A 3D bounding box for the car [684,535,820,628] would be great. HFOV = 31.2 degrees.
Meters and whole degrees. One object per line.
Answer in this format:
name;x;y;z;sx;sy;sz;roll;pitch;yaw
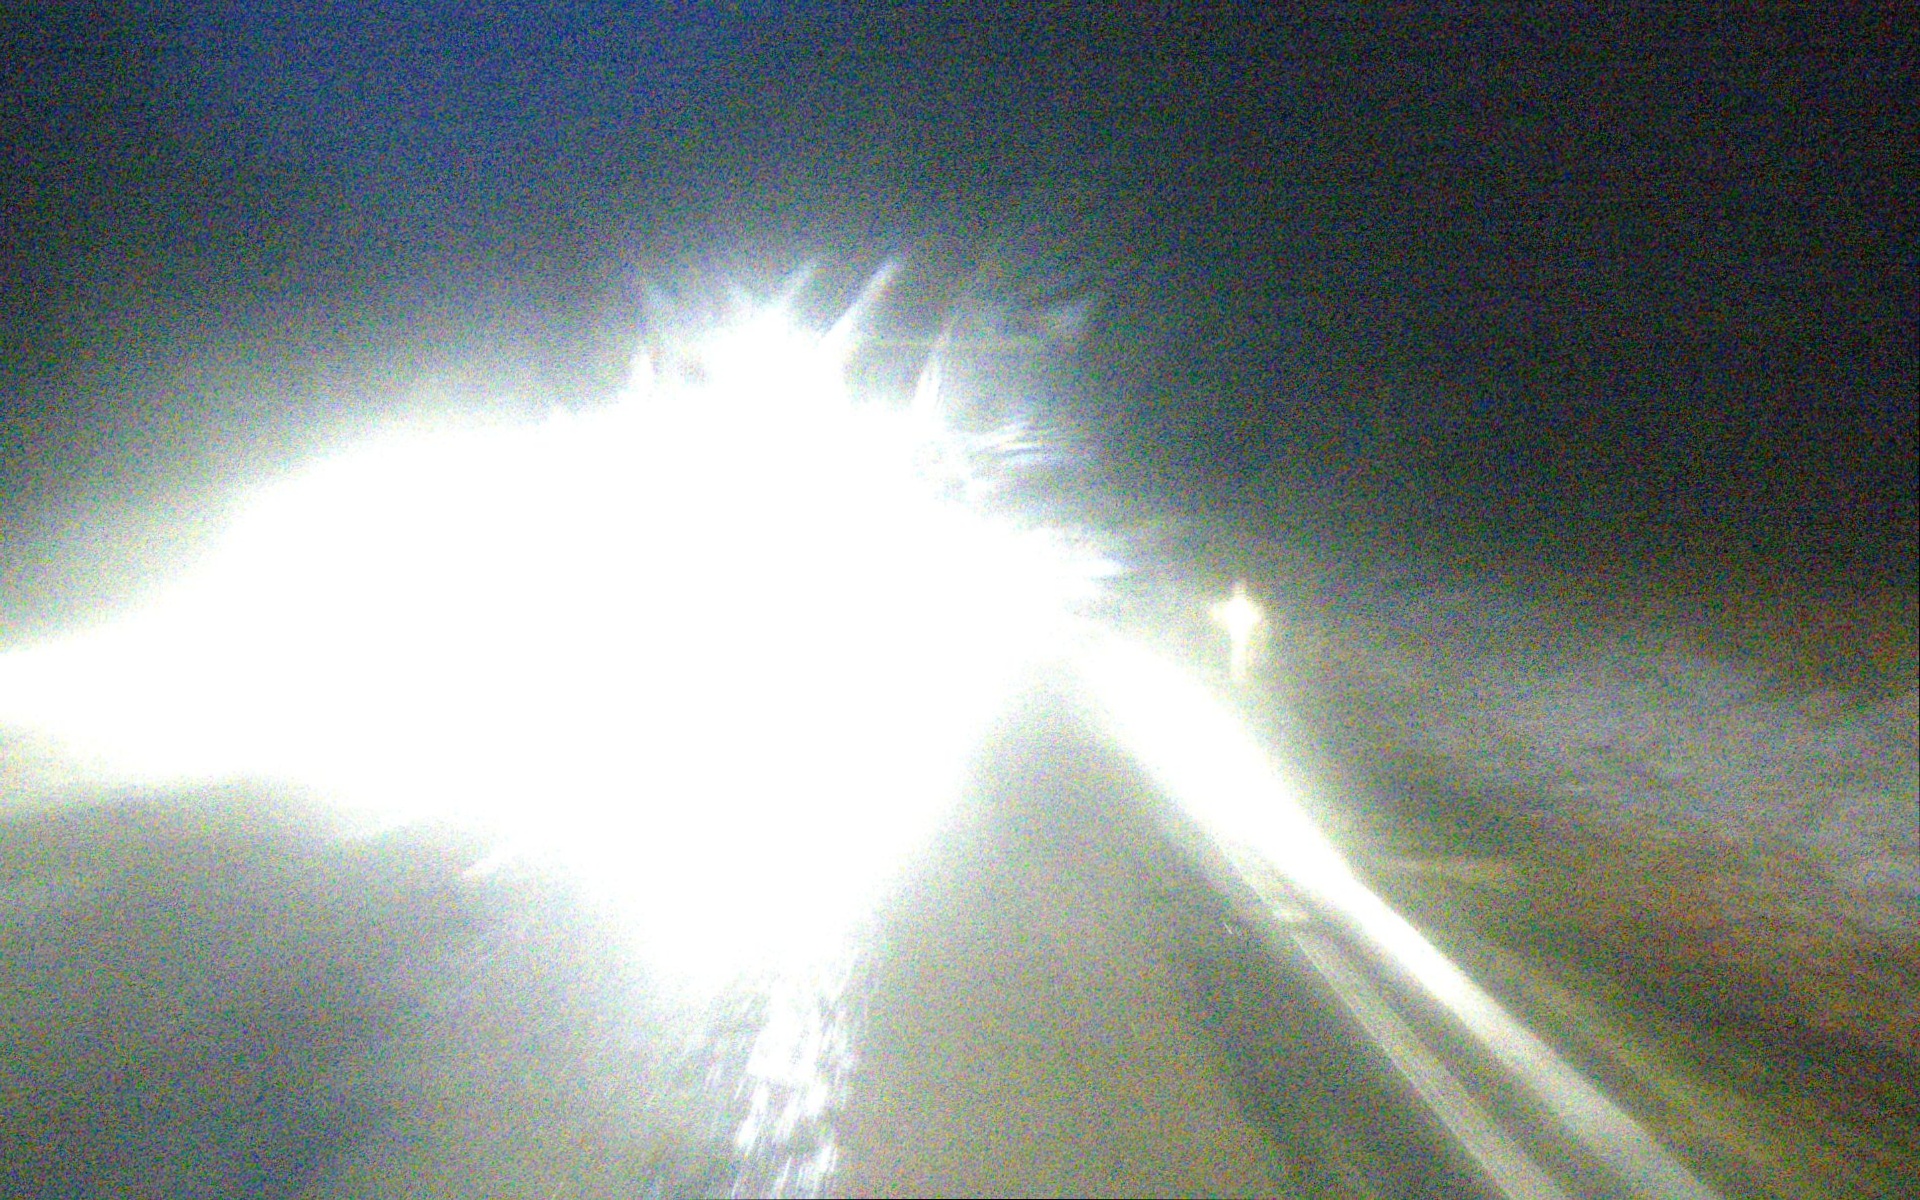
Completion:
car;-3.415;-0.335;57.078;1.917;1.459;4.259;-1;1;1
